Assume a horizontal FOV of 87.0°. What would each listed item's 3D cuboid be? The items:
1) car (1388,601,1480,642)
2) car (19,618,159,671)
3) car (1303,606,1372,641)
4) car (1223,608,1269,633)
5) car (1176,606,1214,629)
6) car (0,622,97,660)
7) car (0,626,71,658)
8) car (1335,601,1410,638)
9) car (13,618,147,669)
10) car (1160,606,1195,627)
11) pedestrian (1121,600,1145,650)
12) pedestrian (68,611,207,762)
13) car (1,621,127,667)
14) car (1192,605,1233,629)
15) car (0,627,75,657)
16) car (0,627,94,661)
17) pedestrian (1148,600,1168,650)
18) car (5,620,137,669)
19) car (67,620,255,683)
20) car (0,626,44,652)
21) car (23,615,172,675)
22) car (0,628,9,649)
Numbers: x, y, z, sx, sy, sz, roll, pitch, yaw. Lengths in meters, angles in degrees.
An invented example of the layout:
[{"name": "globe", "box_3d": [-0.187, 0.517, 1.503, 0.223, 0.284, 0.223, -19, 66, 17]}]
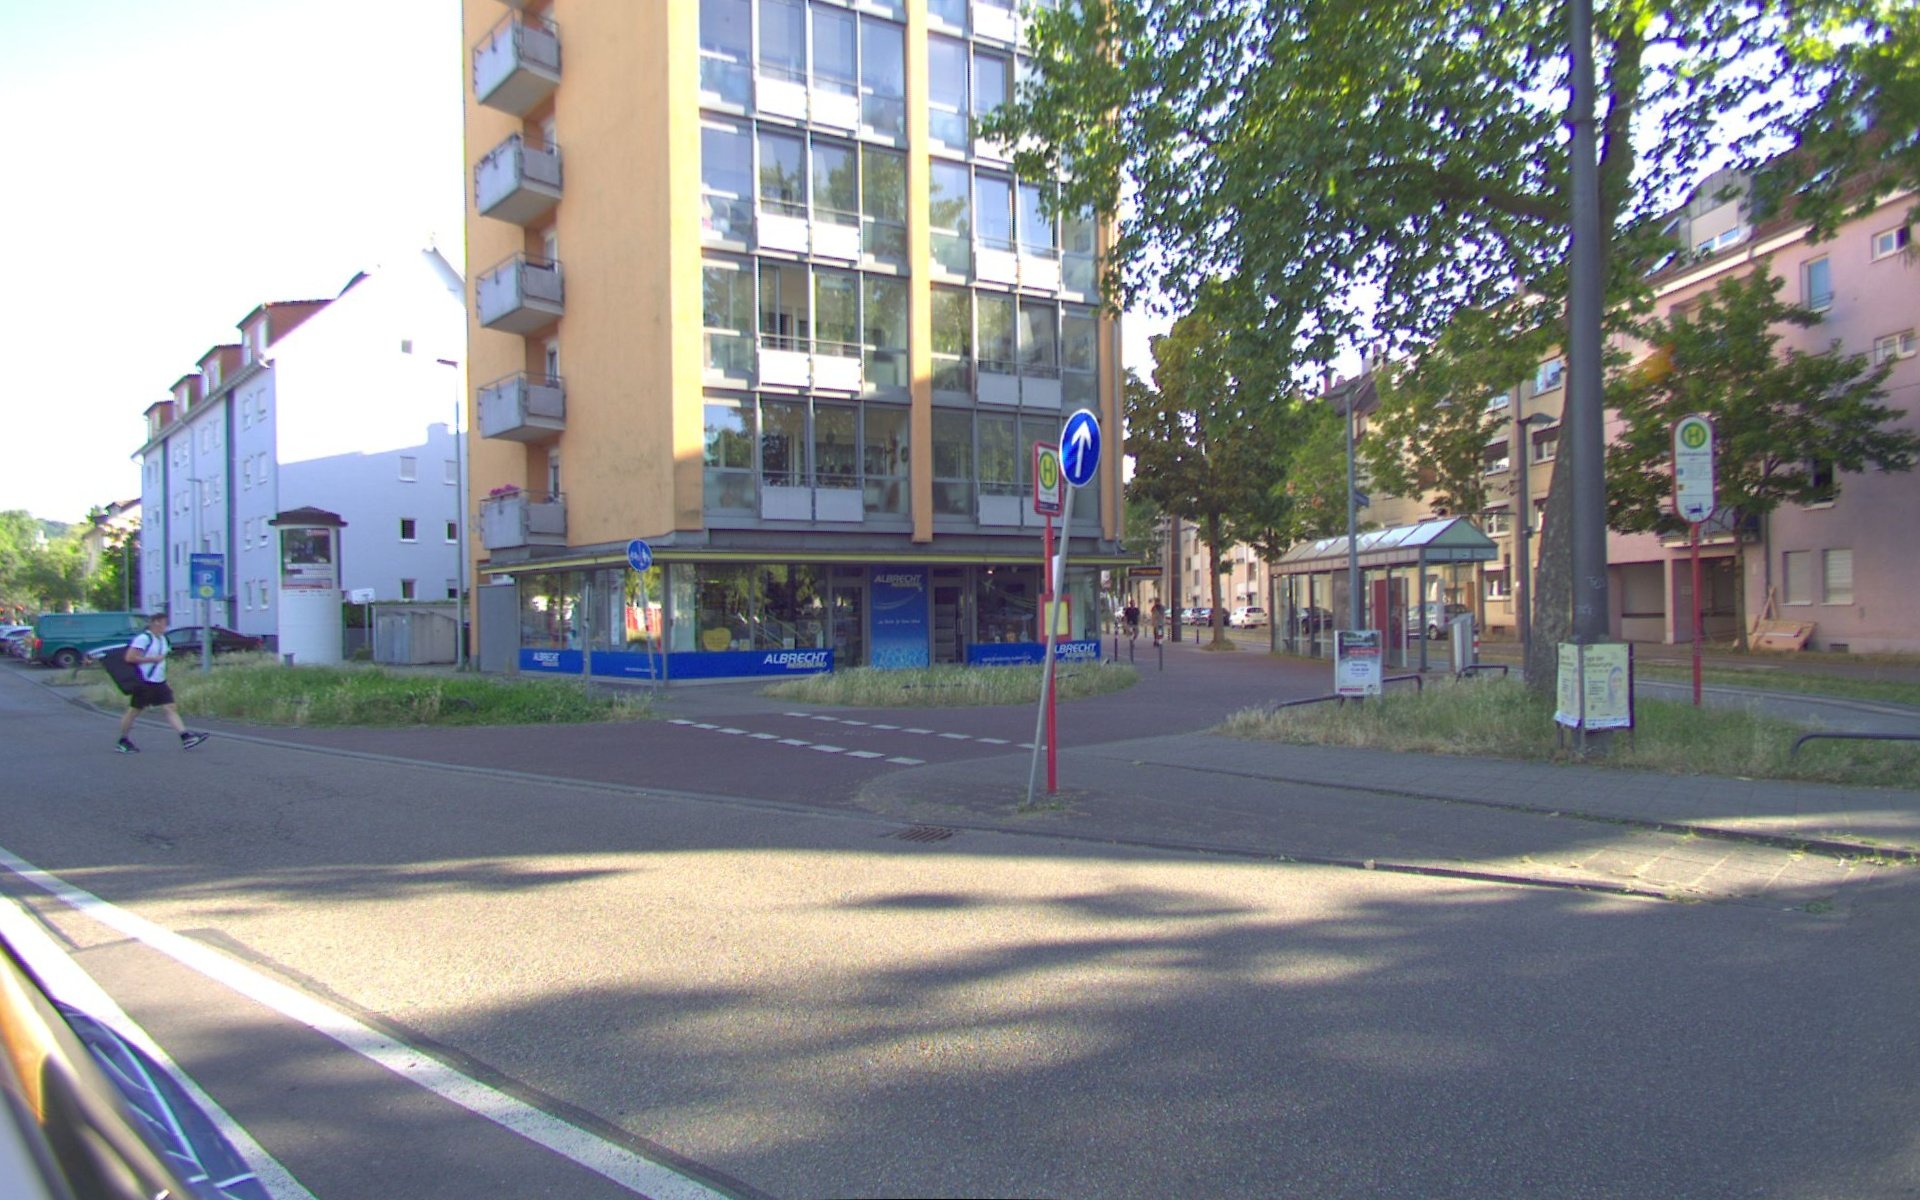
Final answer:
[{"name": "car", "box_3d": [20.738, 0.901, 44.435, 1.911, 1.719, 4.115, -1, 0, -3]}, {"name": "car", "box_3d": [-33.128, 1.646, 38.534, 3.941, 1.829, 2.001, -1, 0, -44]}, {"name": "car", "box_3d": [19.908, 1.195, 53.603, 1.911, 1.719, 4.115, -1, 0, -3]}, {"name": "car", "box_3d": [19.164, 1.337, 68.055, 1.741, 1.588, 4.049, -1, 0, -3]}, {"name": "car", "box_3d": [18.634, 1.341, 80.349, 1.771, 1.719, 4.170, -1, 0, -3]}, {"name": "car", "box_3d": [-46.125, 2.035, 50.868, 4.061, 1.785, 1.758, -1, 0, -44]}, {"name": "car", "box_3d": [-55.801, 2.469, 60.437, 4.016, 1.765, 1.900, -1, 0, -44]}, {"name": "car", "box_3d": [19.898, 0.911, 48.990, 1.911, 1.719, 3.827, -1, 0, -3]}, {"name": "car", "box_3d": [-35.128, 1.672, 40.436, 3.941, 1.829, 2.001, -1, 0, -44]}, {"name": "car", "box_3d": [18.422, 1.383, 85.803, 1.830, 1.719, 4.170, -1, 0, -3]}, {"name": "pedestrian", "box_3d": [6.193, 0.880, 36.238, 0.803, 1.763, 0.538, -1, 0, 6]}, {"name": "pedestrian", "box_3d": [-10.085, 1.026, 12.428, 1.080, 1.750, 0.897, -1, 0, 19]}, {"name": "car", "box_3d": [-38.835, 1.863, 43.932, 4.016, 1.765, 1.900, -1, 0, -44]}, {"name": "car", "box_3d": [18.696, 1.257, 75.160, 1.808, 1.719, 4.059, -1, 0, -3]}, {"name": "car", "box_3d": [-55.667, 2.499, 60.384, 4.199, 1.585, 1.867, -1, 0, -44]}, {"name": "car", "box_3d": [-48.128, 2.272, 52.959, 4.199, 1.585, 1.867, -1, 0, -44]}, {"name": "pedestrian", "box_3d": [7.072, 0.868, 36.140, 0.622, 1.763, 0.689, -1, 0, 6]}, {"name": "car", "box_3d": [-36.866, 1.805, 42.014, 4.003, 1.829, 1.938, -1, 0, -44]}, {"name": "car", "box_3d": [-24.280, 1.507, 30.868, 4.361, 1.674, 2.003, -1, 0, -41]}, {"name": "car", "box_3d": [-63.503, 2.600, 66.996, 4.199, 1.585, 1.867, -1, 0, -44]}, {"name": "car", "box_3d": [-31.222, 1.555, 36.690, 2.001, 1.962, 3.942, -1, 0, 44]}, {"name": "car", "box_3d": [-74.767, 2.984, 76.965, 3.490, 1.585, 1.867, -1, 0, -44]}]
